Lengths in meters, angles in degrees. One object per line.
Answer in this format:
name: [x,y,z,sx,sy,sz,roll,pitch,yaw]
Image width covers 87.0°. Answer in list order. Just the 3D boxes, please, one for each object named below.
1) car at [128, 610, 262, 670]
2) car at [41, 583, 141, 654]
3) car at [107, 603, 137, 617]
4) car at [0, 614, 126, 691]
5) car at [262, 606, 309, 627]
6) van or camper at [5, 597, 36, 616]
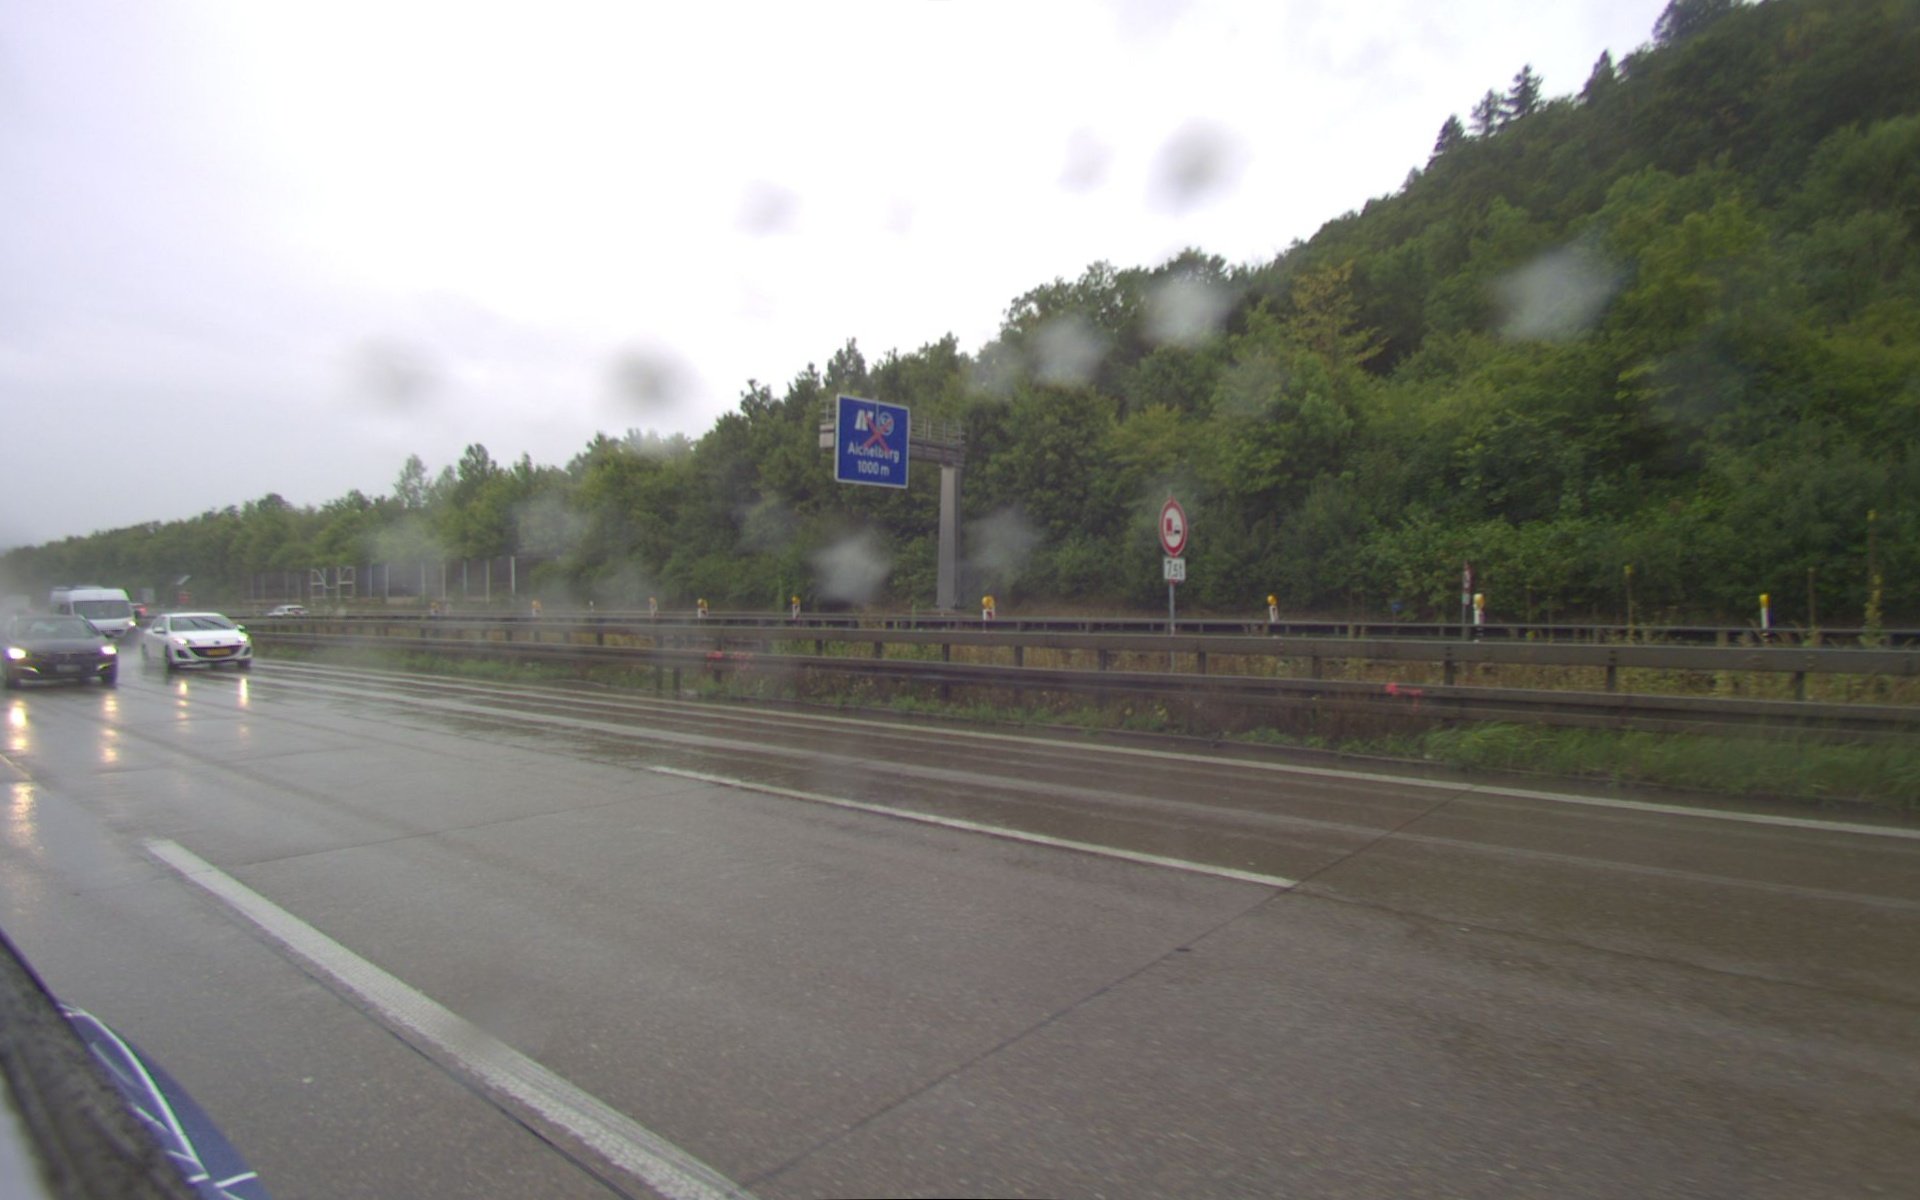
car: [-20.489,1.009,27.042,4.514,1.445,1.910,-1,-1,40]
car: [-34.998,0.737,40.683,6.398,2.651,2.020,-1,-1,40]
car: [-87.767,1.049,105.967,4.515,1.445,1.650,-1,0,41]
car: [-19.491,1.036,21.585,4.515,1.445,1.909,-1,-1,41]
car: [-48.788,1.224,73.142,4.515,1.445,1.650,-1,0,41]
van or camper: [-137.515,0.980,148.058,7.495,2.738,2.530,-1,1,41]
